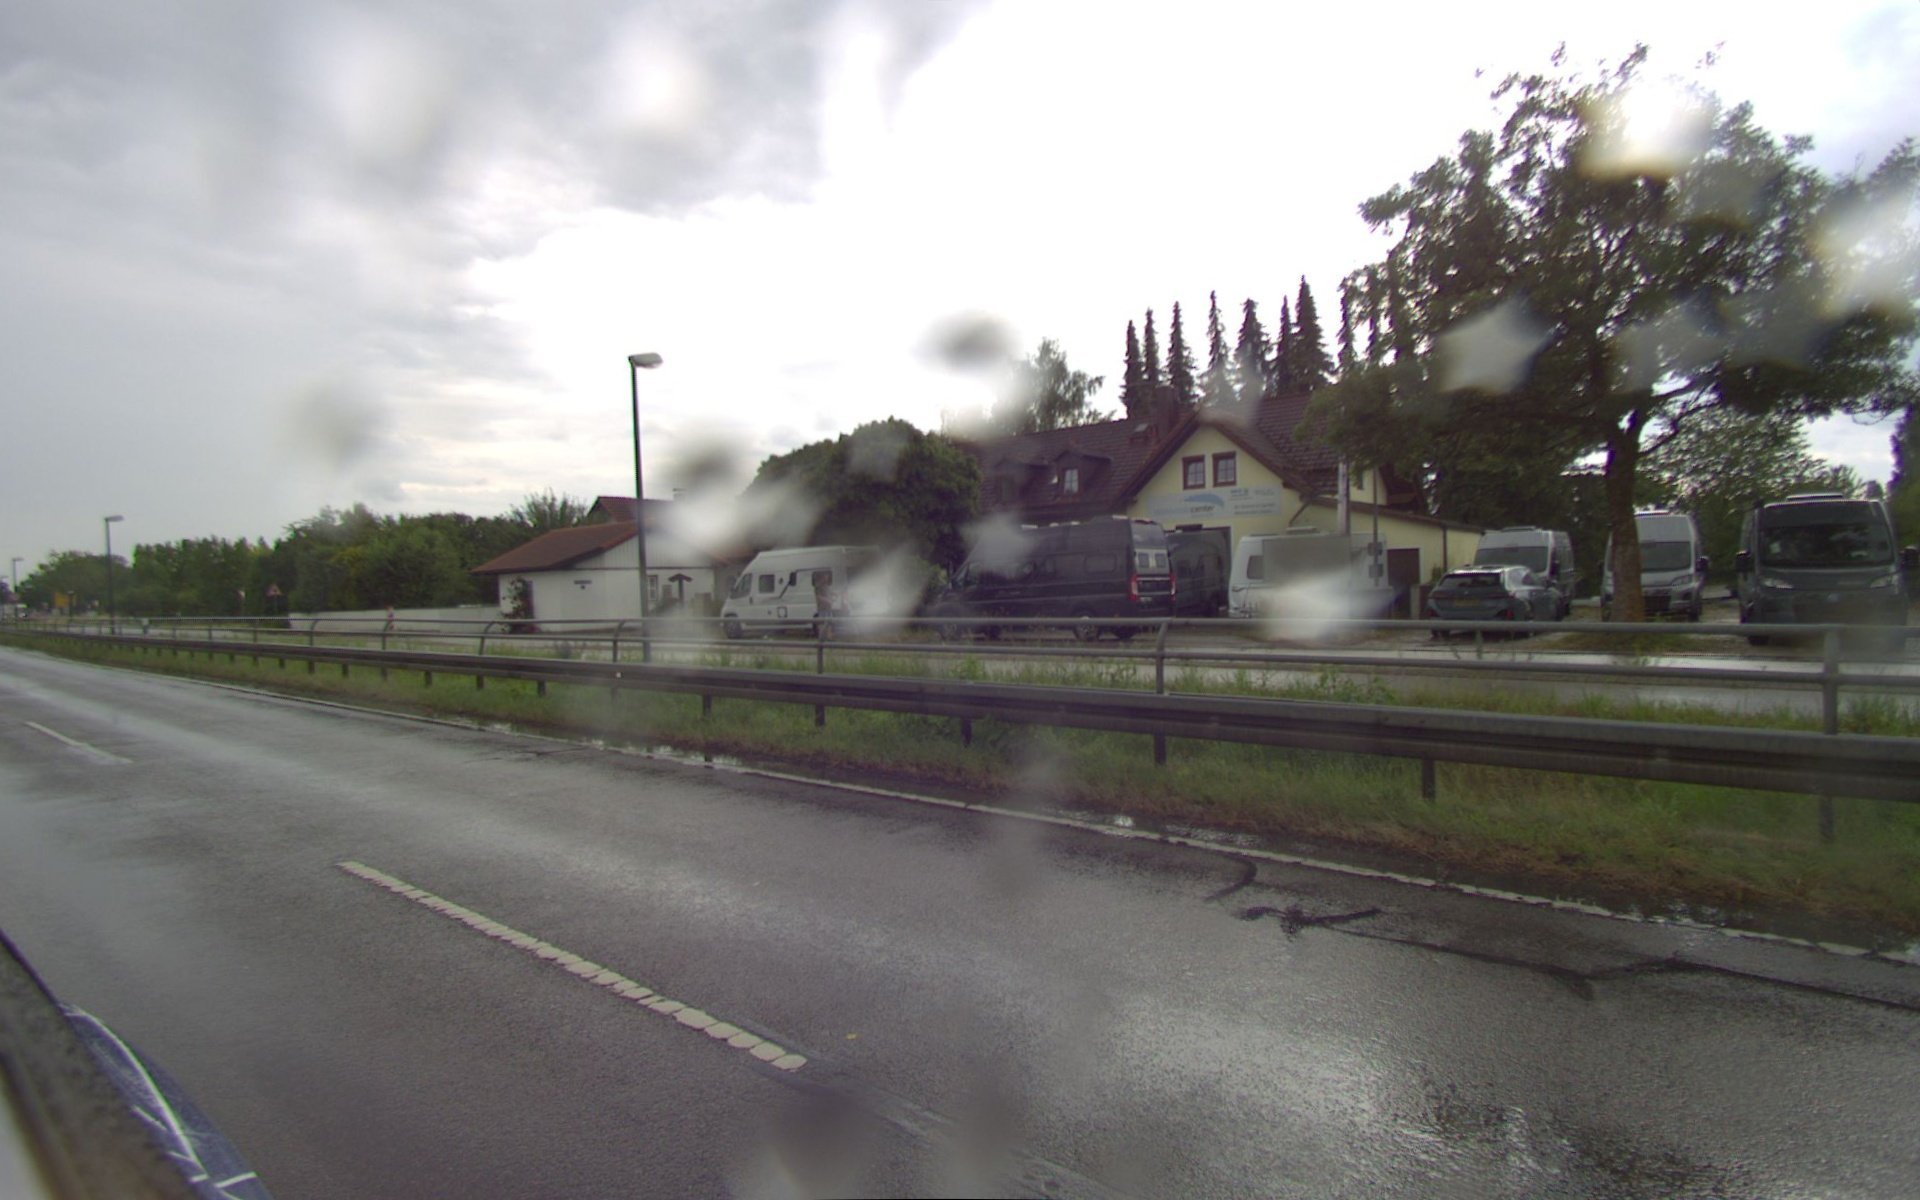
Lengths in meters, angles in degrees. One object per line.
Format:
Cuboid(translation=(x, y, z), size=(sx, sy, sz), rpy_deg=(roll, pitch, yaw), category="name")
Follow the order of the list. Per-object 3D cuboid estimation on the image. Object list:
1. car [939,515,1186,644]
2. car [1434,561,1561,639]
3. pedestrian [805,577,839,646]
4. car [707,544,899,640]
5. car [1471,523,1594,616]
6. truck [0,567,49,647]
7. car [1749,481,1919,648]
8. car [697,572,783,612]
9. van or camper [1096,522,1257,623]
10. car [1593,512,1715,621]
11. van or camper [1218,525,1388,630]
Cuboid(translation=(2.375, -0.443, 24.619), size=(5.569, 2.783, 2.359), rpy_deg=(-1, 1, 41), category="car")
Cuboid(translation=(11.668, -0.041, 21.862), size=(1.540, 1.507, 3.843), rpy_deg=(-1, 1, 42), category="car")
Cuboid(translation=(-3.479, 0.285, 25.476), size=(0.509, 1.723, 0.651), rpy_deg=(-2, 1, -42), category="pedestrian")
Cuboid(translation=(-4.802, -0.214, 30.236), size=(6.015, 2.600, 2.214), rpy_deg=(-1, 1, 41), category="car")
Cuboid(translation=(16.956, -0.897, 29.804), size=(2.089, 2.435, 6.031), rpy_deg=(-1, 1, 40), category="car")
Cuboid(translation=(-64.075, 0.518, 68.077), size=(7.781, 5.071, 3.214), rpy_deg=(-1, 1, 42), category="truck")
Cuboid(translation=(15.317, -0.614, 17.925), size=(1.997, 2.520, 5.135), rpy_deg=(-1, 1, 37), category="car")
Cuboid(translation=(-8.223, -0.296, 37.749), size=(3.268, 1.366, 1.434), rpy_deg=(-1, 1, 41), category="car")
Cuboid(translation=(6.873, -0.867, 31.479), size=(2.431, 2.822, 5.995), rpy_deg=(-1, 1, 38), category="van or camper")
Cuboid(translation=(18.483, -0.865, 26.819), size=(2.089, 2.557, 6.031), rpy_deg=(-1, 1, 40), category="car")
Cuboid(translation=(9.773, -0.658, 28.455), size=(2.559, 2.611, 6.163), rpy_deg=(-1, 1, 38), category="van or camper")
